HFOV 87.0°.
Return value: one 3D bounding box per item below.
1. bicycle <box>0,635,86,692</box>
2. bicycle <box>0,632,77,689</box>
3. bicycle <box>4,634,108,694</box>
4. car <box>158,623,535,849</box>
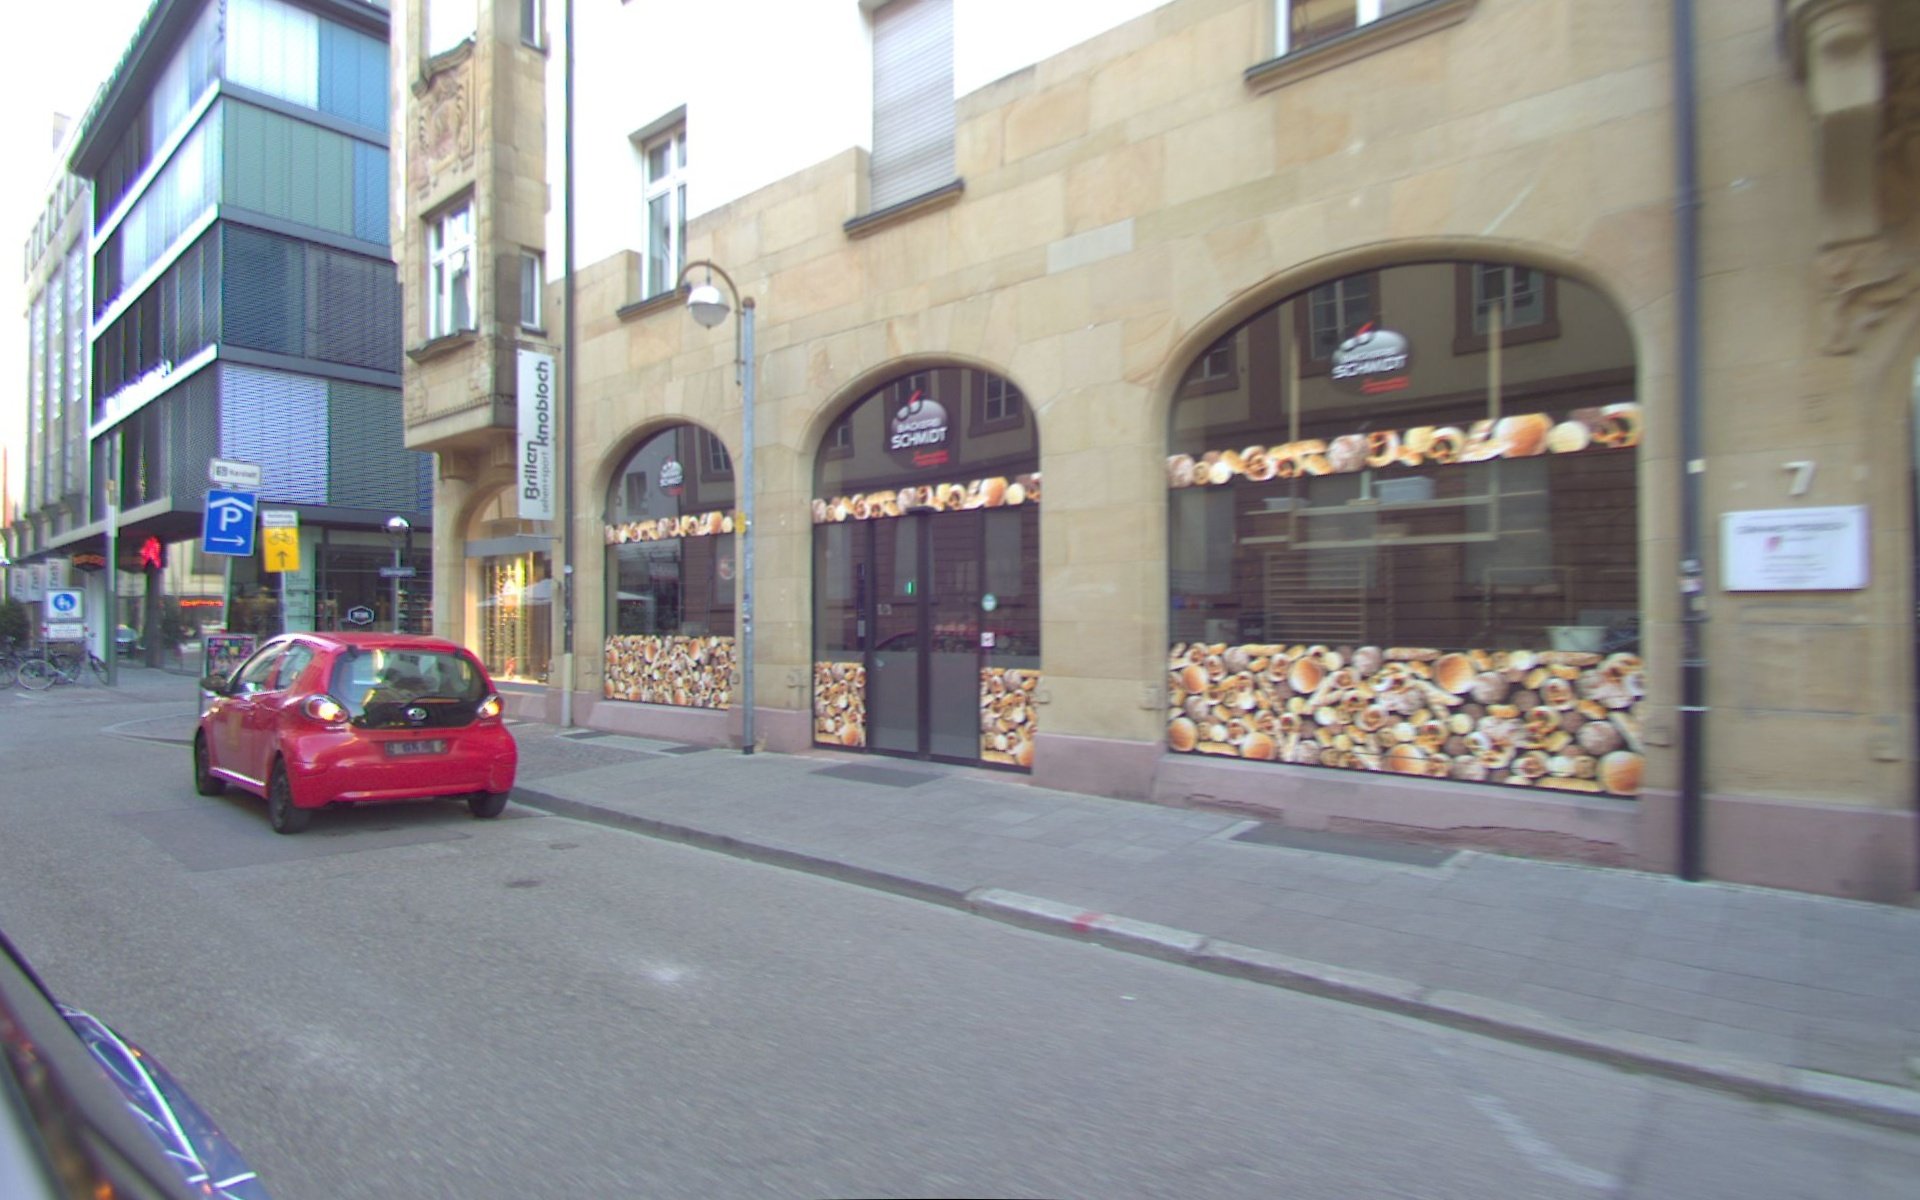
[{"bbox_3d":[-21.369,1.457,23.235,0.517,1.190,1.879,-4,-1,39],"label":"bicycle"},{"bbox_3d":[-23.205,1.495,25.075,0.538,1.279,1.878,-2,2,41],"label":"bicycle"},{"bbox_3d":[-19.999,1.391,22.412,0.509,1.213,1.649,-2,0,40],"label":"bicycle"},{"bbox_3d":[-5.385,0.977,8.675,3.931,1.481,1.640,-1,-4,42],"label":"car"}]
